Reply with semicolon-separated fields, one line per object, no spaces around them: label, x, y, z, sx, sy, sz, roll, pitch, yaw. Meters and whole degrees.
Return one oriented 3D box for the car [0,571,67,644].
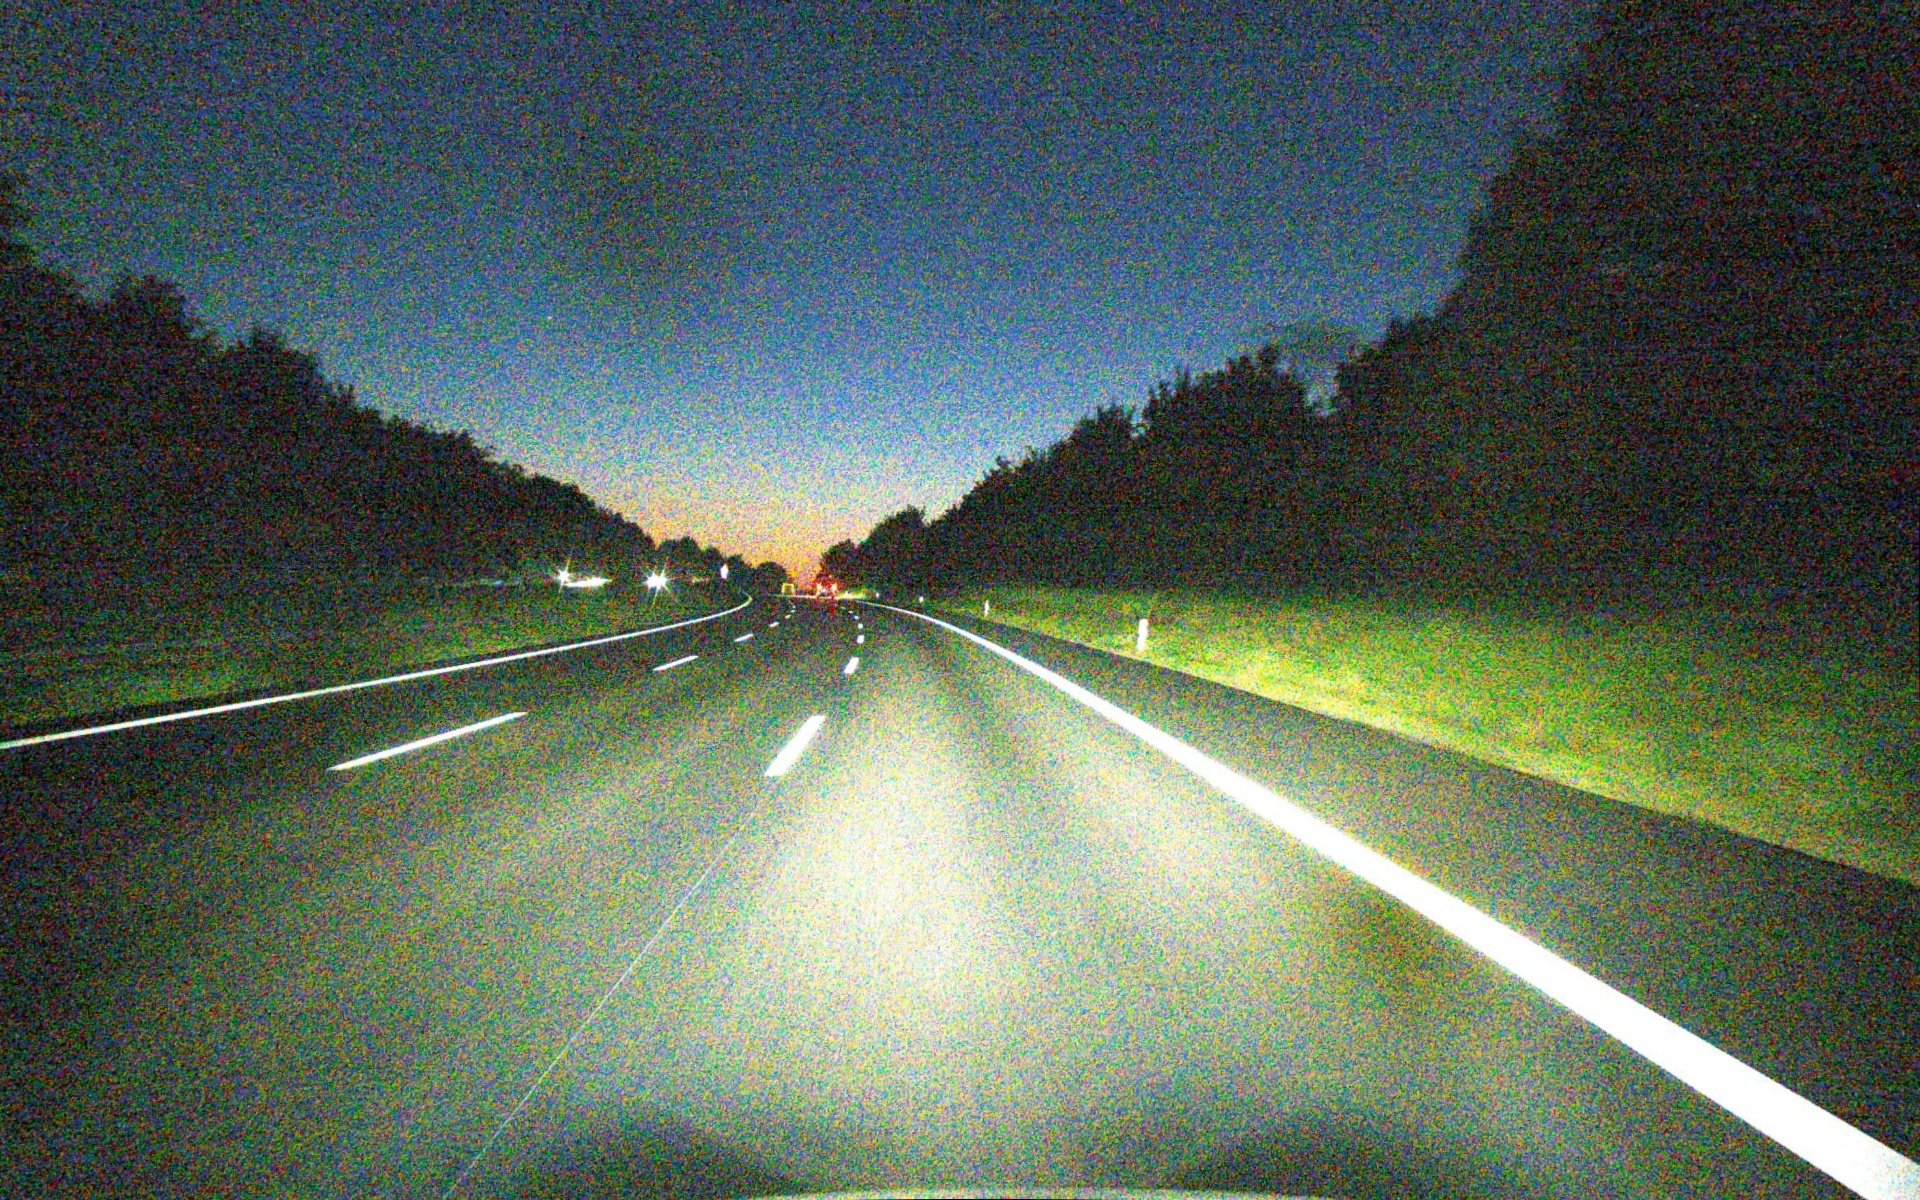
car;-24.394;0.162;41.503;1.954;1.756;4.073;0;1;-4

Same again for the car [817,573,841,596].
car;-15.712;-1.836;198.330;2.479;2.597;6.042;3;0;-6

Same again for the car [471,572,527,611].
car;-23.442;-0.444;84.157;1.954;1.887;4.074;0;1;-4
